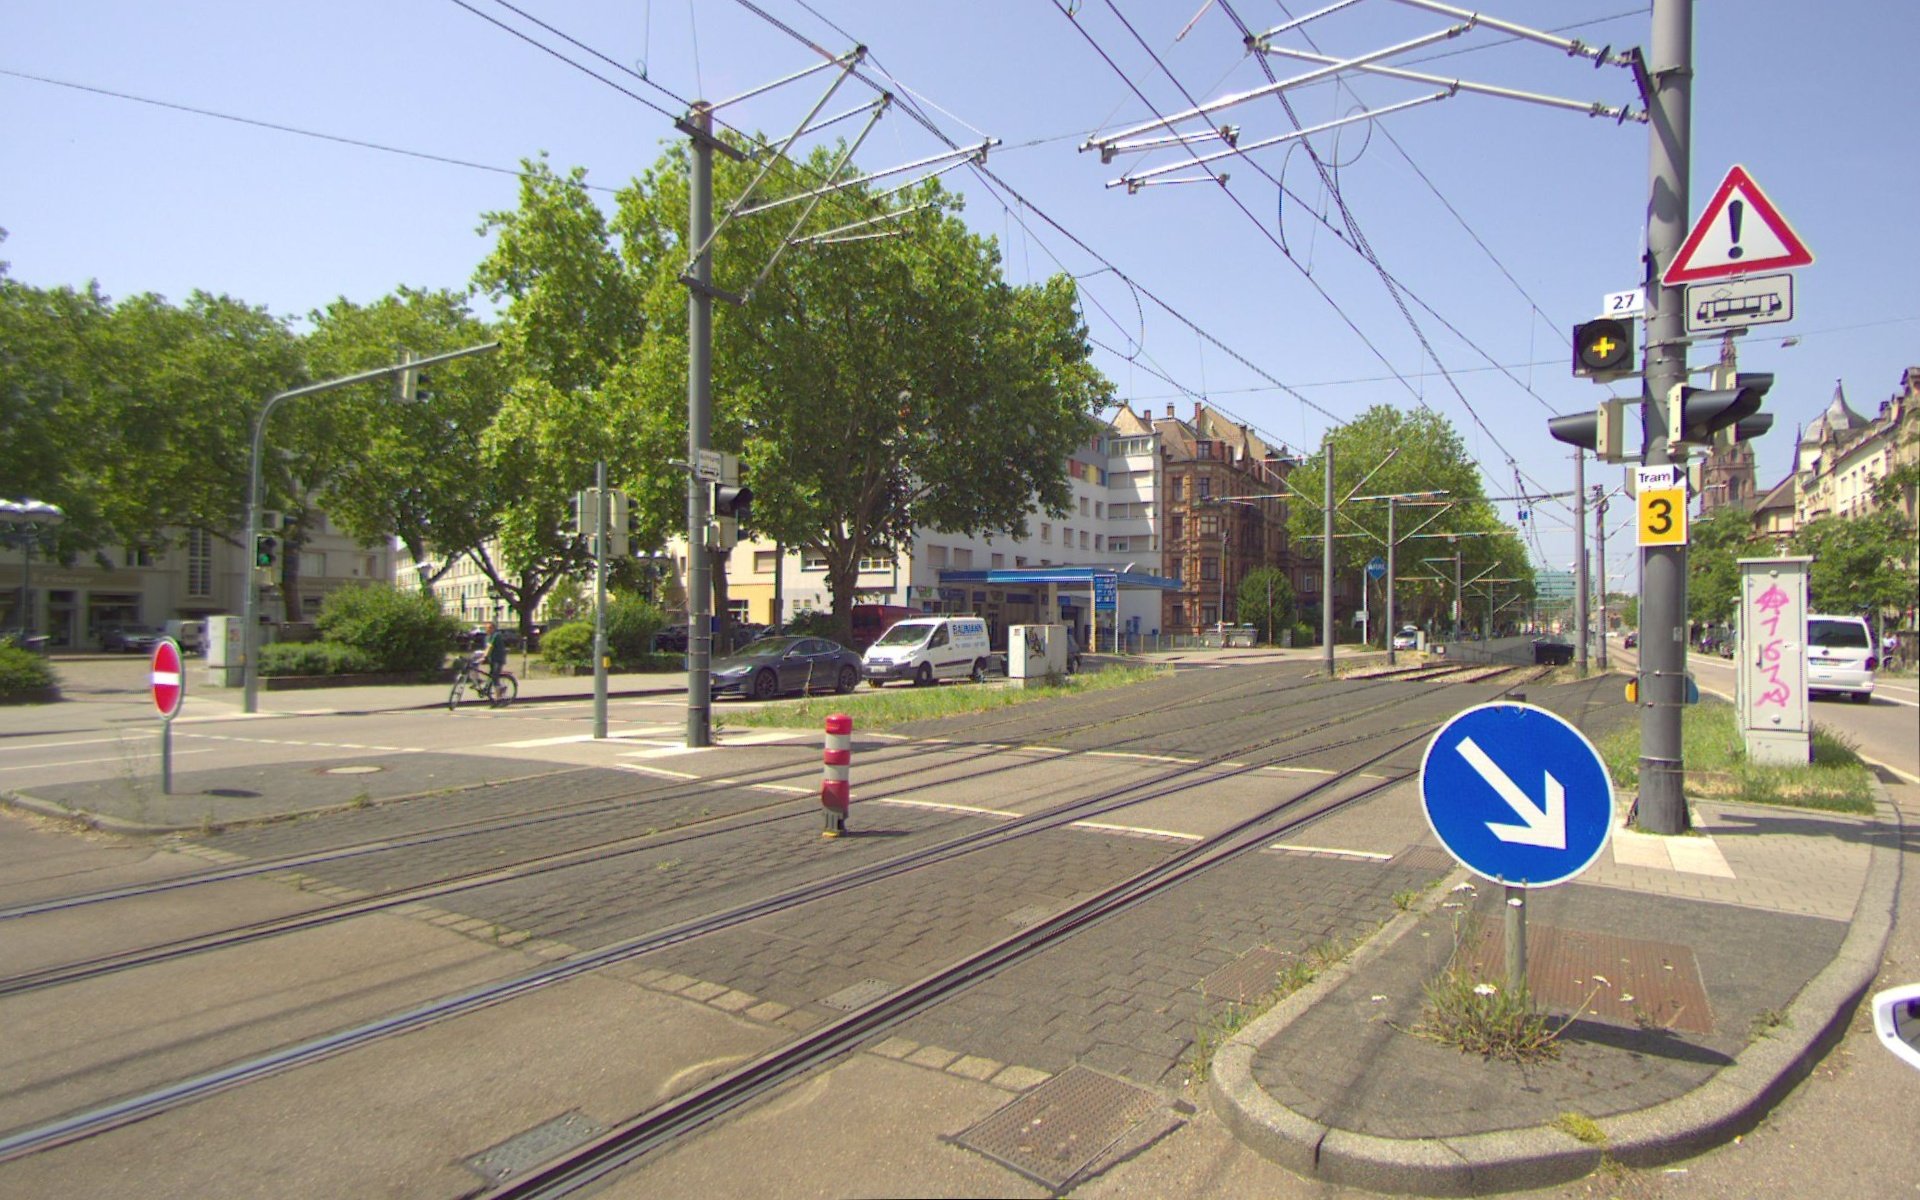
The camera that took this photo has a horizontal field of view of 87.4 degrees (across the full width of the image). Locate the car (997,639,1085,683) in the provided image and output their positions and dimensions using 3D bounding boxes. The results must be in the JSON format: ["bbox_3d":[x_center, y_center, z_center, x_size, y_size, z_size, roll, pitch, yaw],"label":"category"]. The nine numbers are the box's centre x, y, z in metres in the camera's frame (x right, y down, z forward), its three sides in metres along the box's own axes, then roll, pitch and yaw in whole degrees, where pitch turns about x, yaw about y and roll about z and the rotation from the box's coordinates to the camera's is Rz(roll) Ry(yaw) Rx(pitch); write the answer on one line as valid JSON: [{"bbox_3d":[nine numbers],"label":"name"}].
[{"bbox_3d":[2.924,2.126,35.430,1.573,1.438,3.774,-2,-3,31],"label":"car"}]

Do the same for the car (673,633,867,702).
[{"bbox_3d":[-4.304,1.502,23.556,1.919,1.377,4.619,0,-1,30],"label":"car"}]

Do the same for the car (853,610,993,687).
[{"bbox_3d":[-0.951,1.351,29.041,1.751,2.017,4.796,0,-2,30],"label":"car"}]

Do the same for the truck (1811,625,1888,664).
[{"bbox_3d":[38.817,1.925,43.948,1.764,1.546,4.455,1,-1,32],"label":"truck"}]

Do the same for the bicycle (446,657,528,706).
[{"bbox_3d":[-9.502,1.619,20.225,0.488,0.894,1.480,1,-1,29],"label":"bicycle"}]

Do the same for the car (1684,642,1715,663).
[{"bbox_3d":[61.381,4.312,83.433,1.725,1.599,3.750,1,-1,31],"label":"car"}]

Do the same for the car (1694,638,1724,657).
[{"bbox_3d":[64.766,4.099,86.912,1.725,1.599,3.750,1,-1,31],"label":"car"}]

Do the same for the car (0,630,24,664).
[{"bbox_3d":[-44.293,2.090,45.639,3.858,1.428,1.618,1,-1,32],"label":"car"}]

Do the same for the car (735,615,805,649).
[{"bbox_3d":[-10.162,1.709,53.900,1.558,1.714,3.919,0,-1,29],"label":"car"}]

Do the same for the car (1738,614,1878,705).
[{"bbox_3d":[20.538,1.377,24.513,1.889,1.969,4.255,1,-1,31],"label":"car"}]

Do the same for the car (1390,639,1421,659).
[{"bbox_3d":[38.061,4.170,85.775,1.821,1.646,4.591,-1,-2,32],"label":"car"}]

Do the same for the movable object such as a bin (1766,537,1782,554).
[{"bbox_3d":[52.656,-3.505,65.006,0.778,1.027,0.647,1,-1,38],"label":"movable object such as a bin"}]

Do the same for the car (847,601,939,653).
[{"bbox_3d":[-3.193,1.298,48.774,1.821,2.424,4.968,0,-1,33],"label":"car"}]

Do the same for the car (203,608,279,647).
[{"bbox_3d":[-38.743,1.470,54.098,3.934,1.975,2.159,1,-1,36],"label":"car"}]

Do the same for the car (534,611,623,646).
[{"bbox_3d":[-23.081,1.723,60.958,1.887,2.017,5.102,0,-1,27],"label":"car"}]

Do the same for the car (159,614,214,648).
[{"bbox_3d":[-46.922,1.870,60.889,3.862,1.975,1.568,1,-1,36],"label":"car"}]

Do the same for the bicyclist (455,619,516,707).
[{"bbox_3d":[-9.518,1.246,20.163,0.628,1.708,0.867,1,-1,28],"label":"bicyclist"}]

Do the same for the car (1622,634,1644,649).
[{"bbox_3d":[70.994,4.380,105.986,1.725,1.559,3.750,1,-1,31],"label":"car"}]

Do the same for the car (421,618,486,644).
[{"bbox_3d":[-30.836,1.888,61.147,3.781,1.507,1.731,0,-1,30],"label":"car"}]

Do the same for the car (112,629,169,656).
[{"bbox_3d":[-47.961,2.458,58.776,3.862,1.428,1.617,1,-1,36],"label":"car"}]

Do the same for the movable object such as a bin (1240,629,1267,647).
[{"bbox_3d":[23.507,3.011,80.461,1.756,1.403,1.467,0,-1,30],"label":"movable object such as a bin"}]
